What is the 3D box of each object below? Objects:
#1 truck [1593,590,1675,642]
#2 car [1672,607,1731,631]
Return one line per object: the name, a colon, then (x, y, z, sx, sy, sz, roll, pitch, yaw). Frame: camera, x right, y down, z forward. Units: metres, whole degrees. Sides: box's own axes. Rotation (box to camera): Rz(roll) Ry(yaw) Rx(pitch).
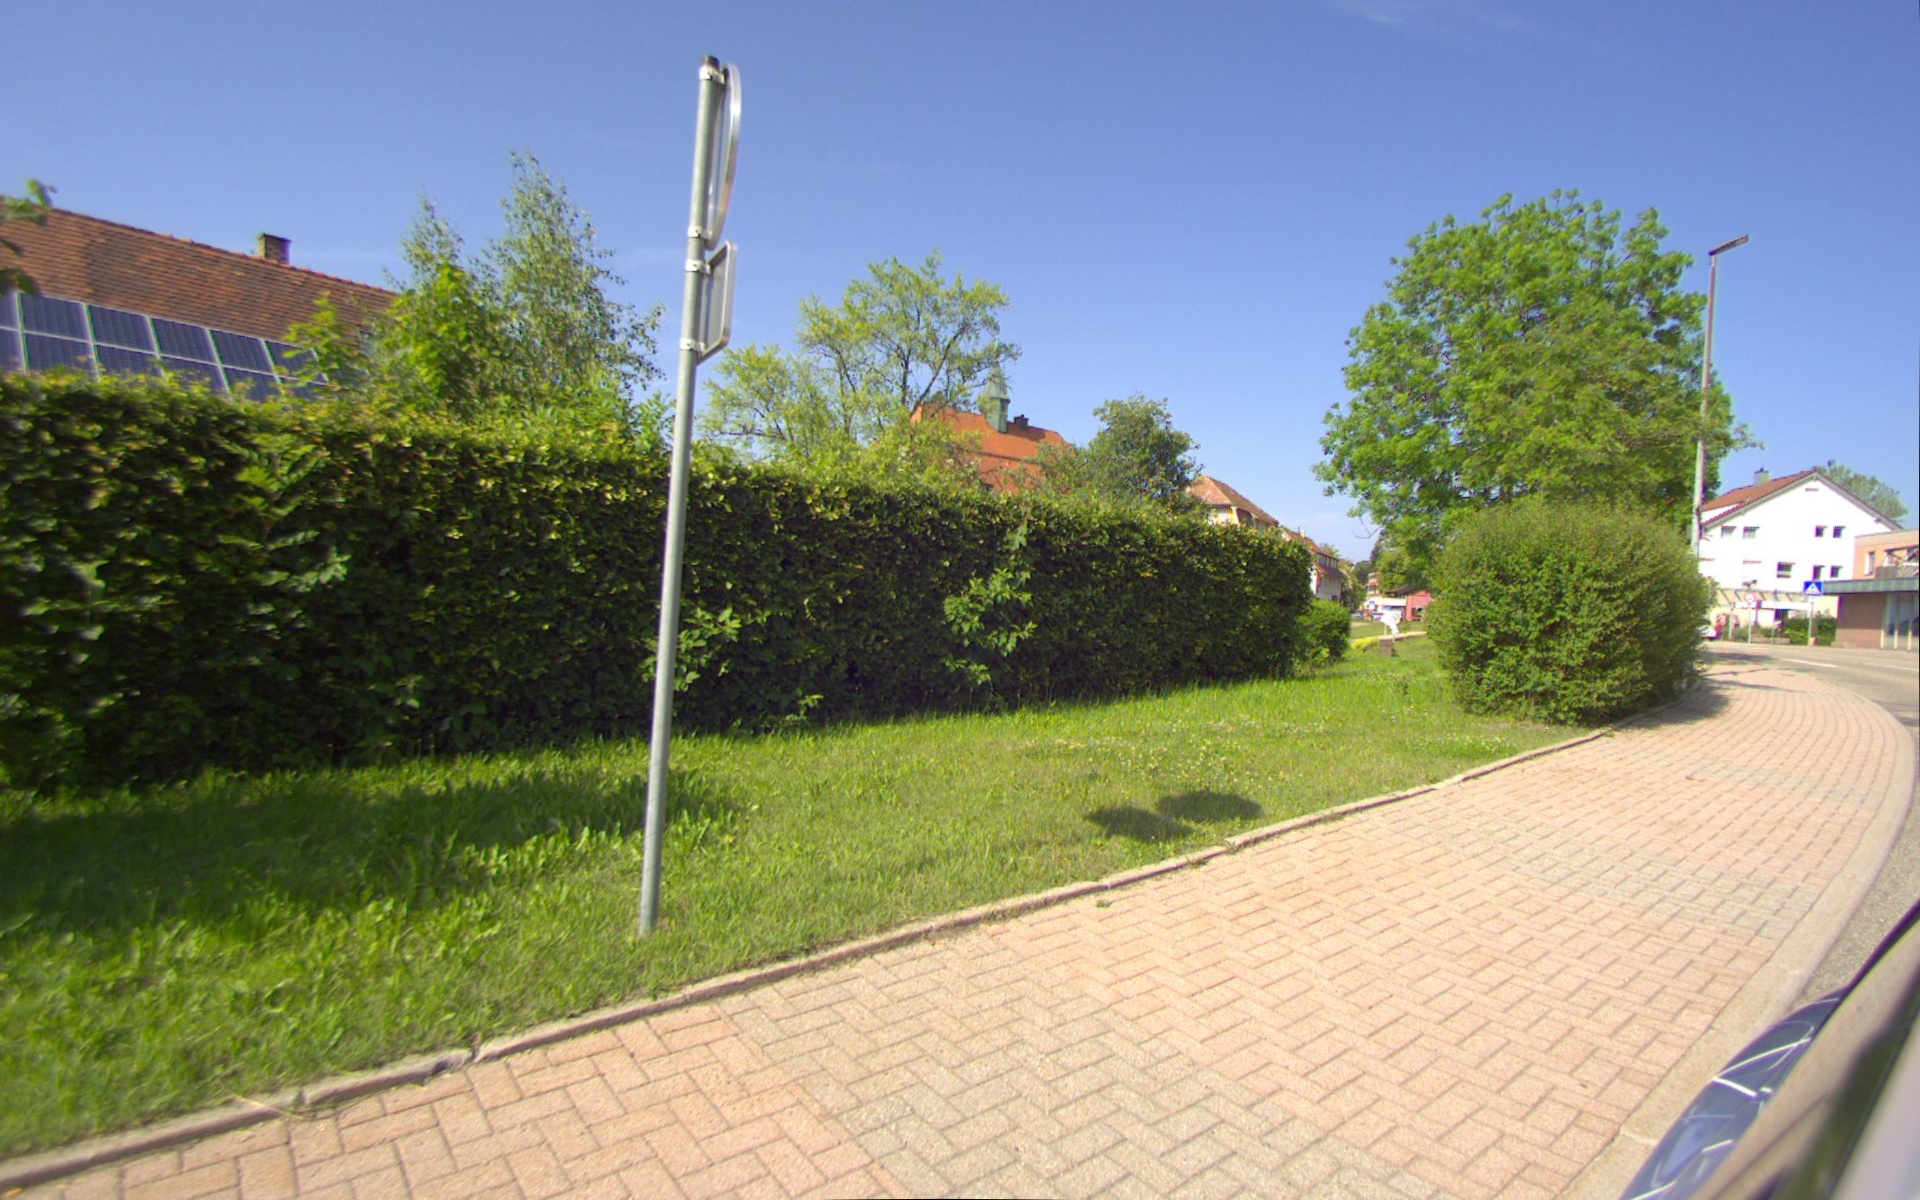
truck: (32.910, 0.819, 49.601, 1.976, 2.372, 6.444, -1, -2, 22)
car: (47.578, 1.179, 65.022, 1.750, 1.487, 3.697, -1, -1, 14)
